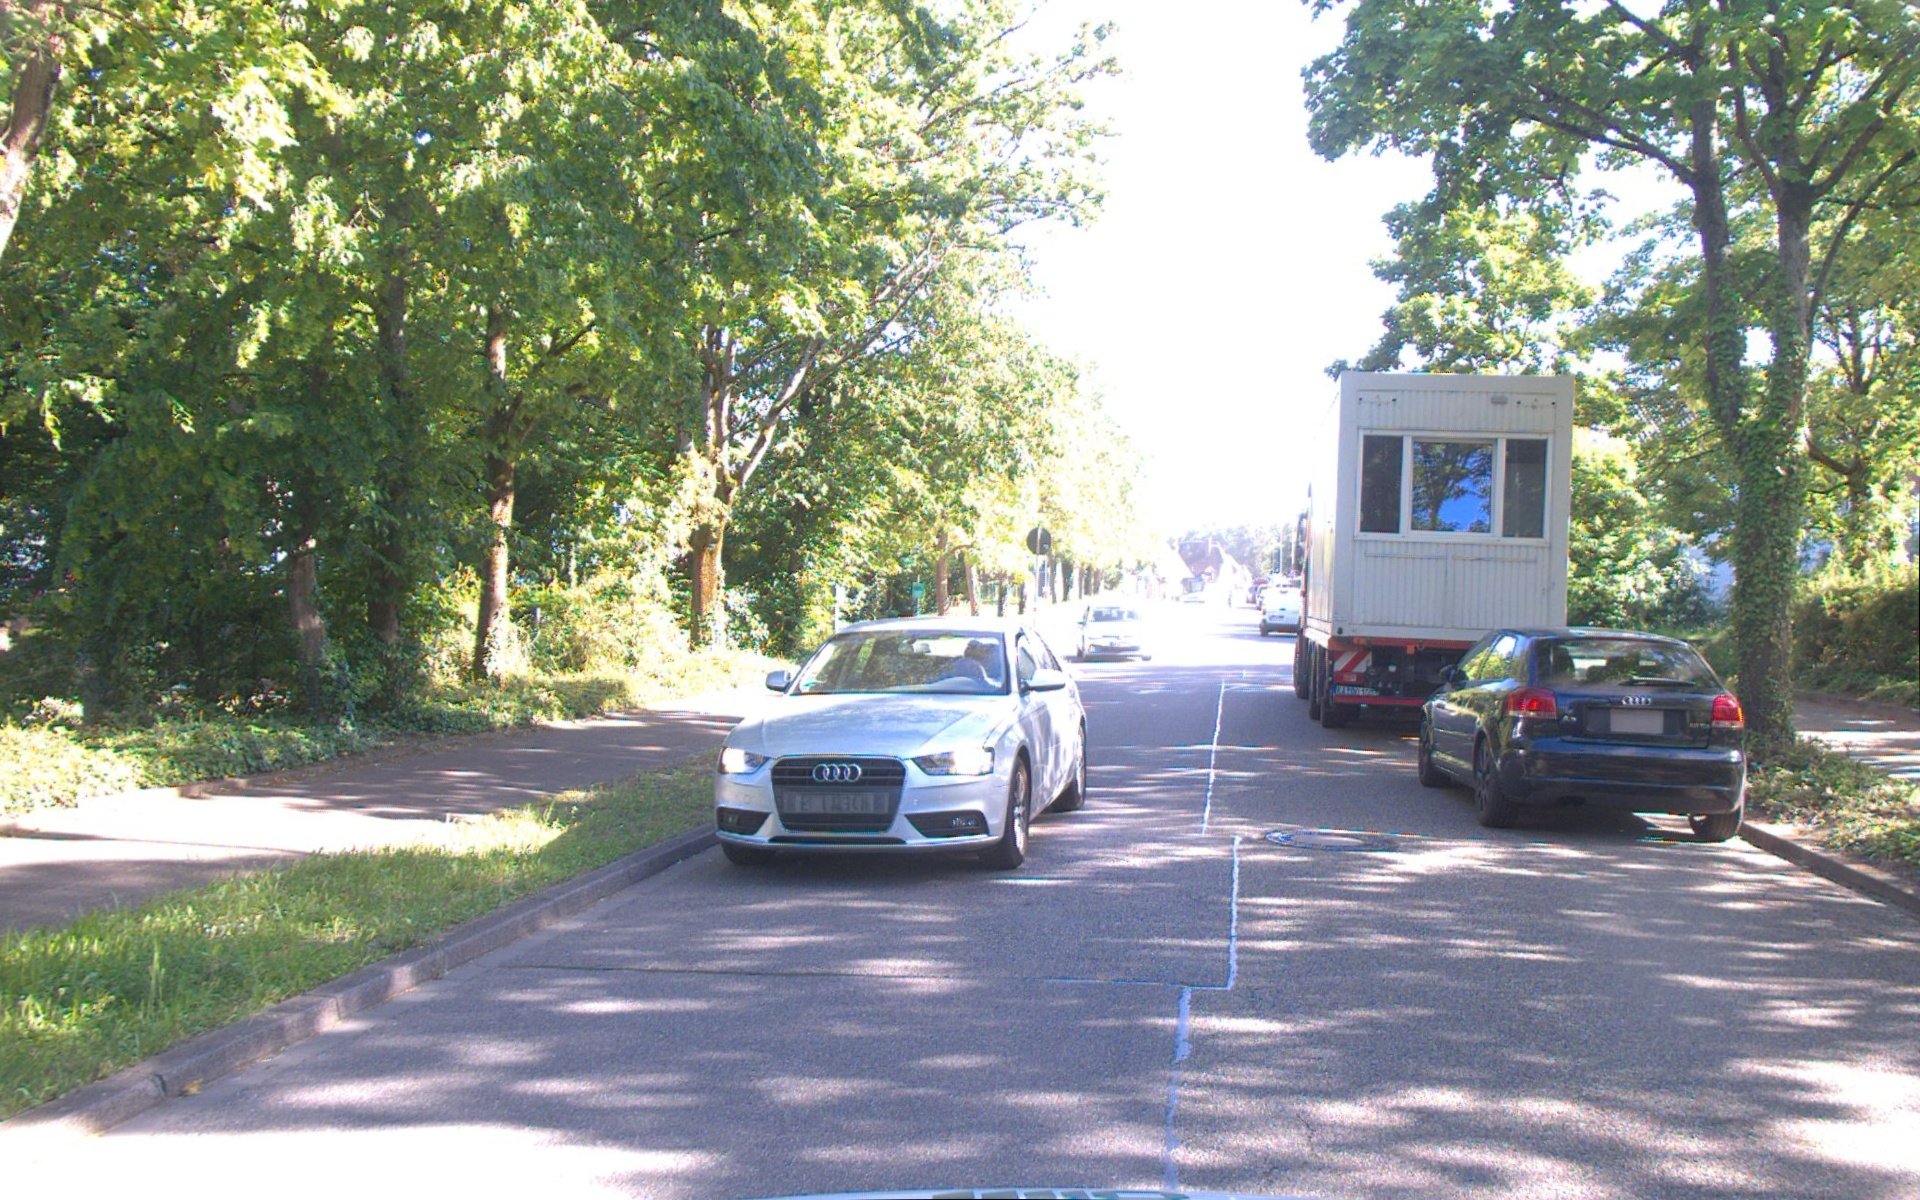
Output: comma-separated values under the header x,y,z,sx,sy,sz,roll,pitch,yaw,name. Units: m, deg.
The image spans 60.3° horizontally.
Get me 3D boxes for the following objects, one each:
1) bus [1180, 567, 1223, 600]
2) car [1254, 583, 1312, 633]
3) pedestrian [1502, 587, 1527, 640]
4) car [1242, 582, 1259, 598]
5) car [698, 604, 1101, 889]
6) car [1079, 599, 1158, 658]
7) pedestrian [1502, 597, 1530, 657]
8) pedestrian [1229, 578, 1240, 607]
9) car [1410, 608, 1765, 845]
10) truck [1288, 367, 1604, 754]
x,y,z,sx,sy,sz,roll,pitch,yaw,name
25.679,-1.766,175.331,3.978,3.407,9.809,0,0,12,bus
12.598,0.284,64.676,1.905,1.875,4.003,1,0,6,car
17.162,0.419,51.187,0.585,1.639,0.600,0,0,6,pedestrian
32.483,-1.097,184.846,1.743,1.840,4.003,0,0,9,car
-0.170,0.776,10.801,1.748,1.441,4.108,-1,0,11,car
4.094,0.704,43.156,1.768,1.445,3.960,-1,0,1,car
17.232,0.843,51.299,0.683,1.844,0.701,0,0,6,pedestrian
21.046,-0.569,126.734,0.736,2.150,0.799,3,0,12,pedestrian
4.636,0.832,12.806,1.605,1.445,4.003,2,1,7,car
6.218,-0.478,22.890,2.714,4.065,10.357,2,1,9,truck
